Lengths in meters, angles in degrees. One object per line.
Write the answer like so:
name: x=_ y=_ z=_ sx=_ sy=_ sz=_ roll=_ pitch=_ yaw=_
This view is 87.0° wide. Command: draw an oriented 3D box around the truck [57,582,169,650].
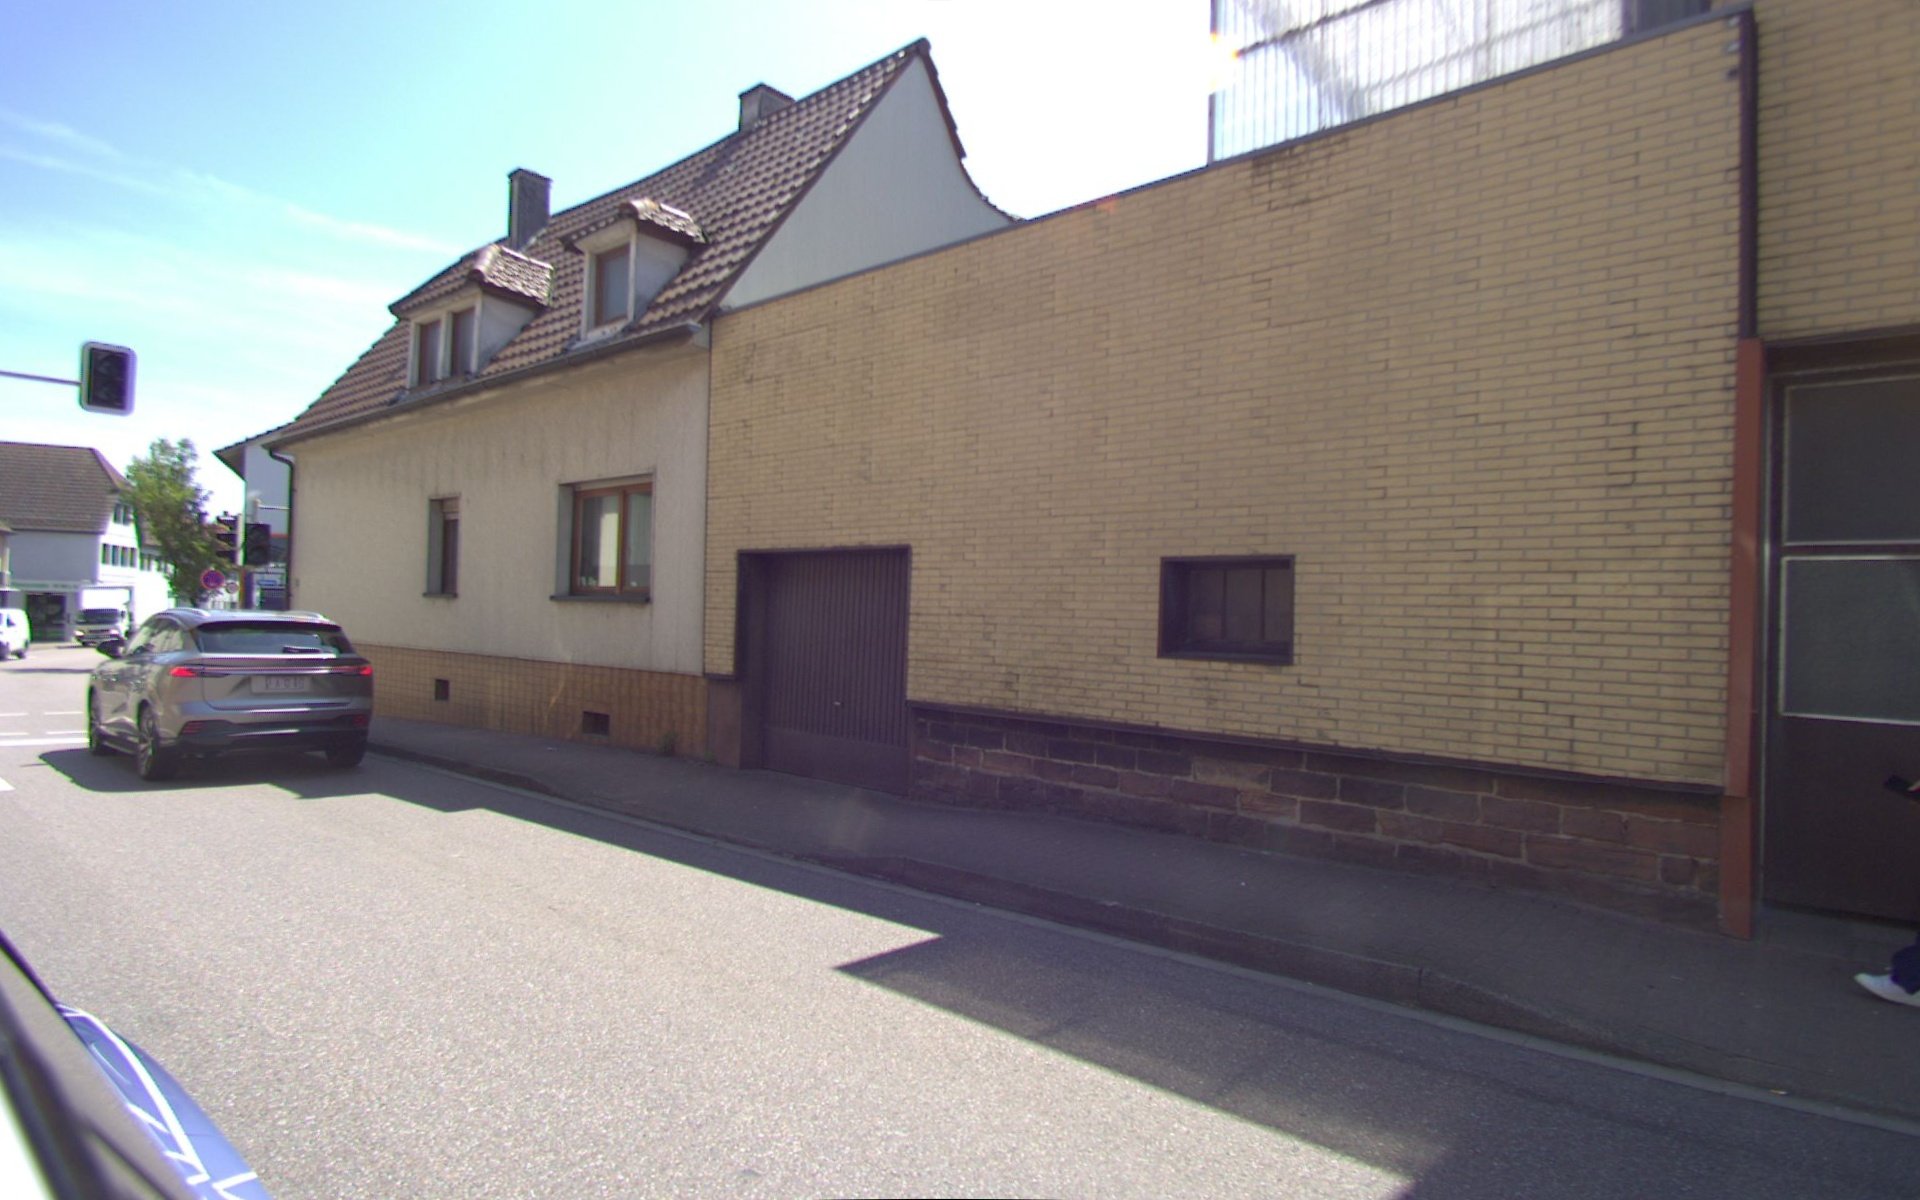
truck: x=-48.556 y=0.906 z=58.298 sx=2.819 sy=3.539 sz=8.347 roll=3 pitch=-2 yaw=-26

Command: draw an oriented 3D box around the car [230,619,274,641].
car: x=-50.019 y=2.113 z=71.581 sx=1.756 sy=1.440 sz=4.154 roll=1 pitch=-1 yaw=-24

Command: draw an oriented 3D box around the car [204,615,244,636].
car: x=-60.543 y=2.048 z=83.310 sx=1.965 sy=1.630 sz=4.013 roll=0 pitch=0 yaw=-26

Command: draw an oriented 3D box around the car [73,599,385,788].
car: x=-7.945 y=0.869 z=10.848 sx=4.259 sy=1.634 sz=1.810 roll=-1 pitch=-3 yaw=42

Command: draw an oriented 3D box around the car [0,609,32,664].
car: x=-36.597 y=1.321 z=37.677 sx=2.045 sy=1.975 sz=5.534 roll=2 pitch=-1 yaw=-32

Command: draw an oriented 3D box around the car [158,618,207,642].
car: x=-53.026 y=2.046 z=69.100 sx=1.837 sy=1.541 sz=4.013 roll=0 pitch=0 yaw=-26
